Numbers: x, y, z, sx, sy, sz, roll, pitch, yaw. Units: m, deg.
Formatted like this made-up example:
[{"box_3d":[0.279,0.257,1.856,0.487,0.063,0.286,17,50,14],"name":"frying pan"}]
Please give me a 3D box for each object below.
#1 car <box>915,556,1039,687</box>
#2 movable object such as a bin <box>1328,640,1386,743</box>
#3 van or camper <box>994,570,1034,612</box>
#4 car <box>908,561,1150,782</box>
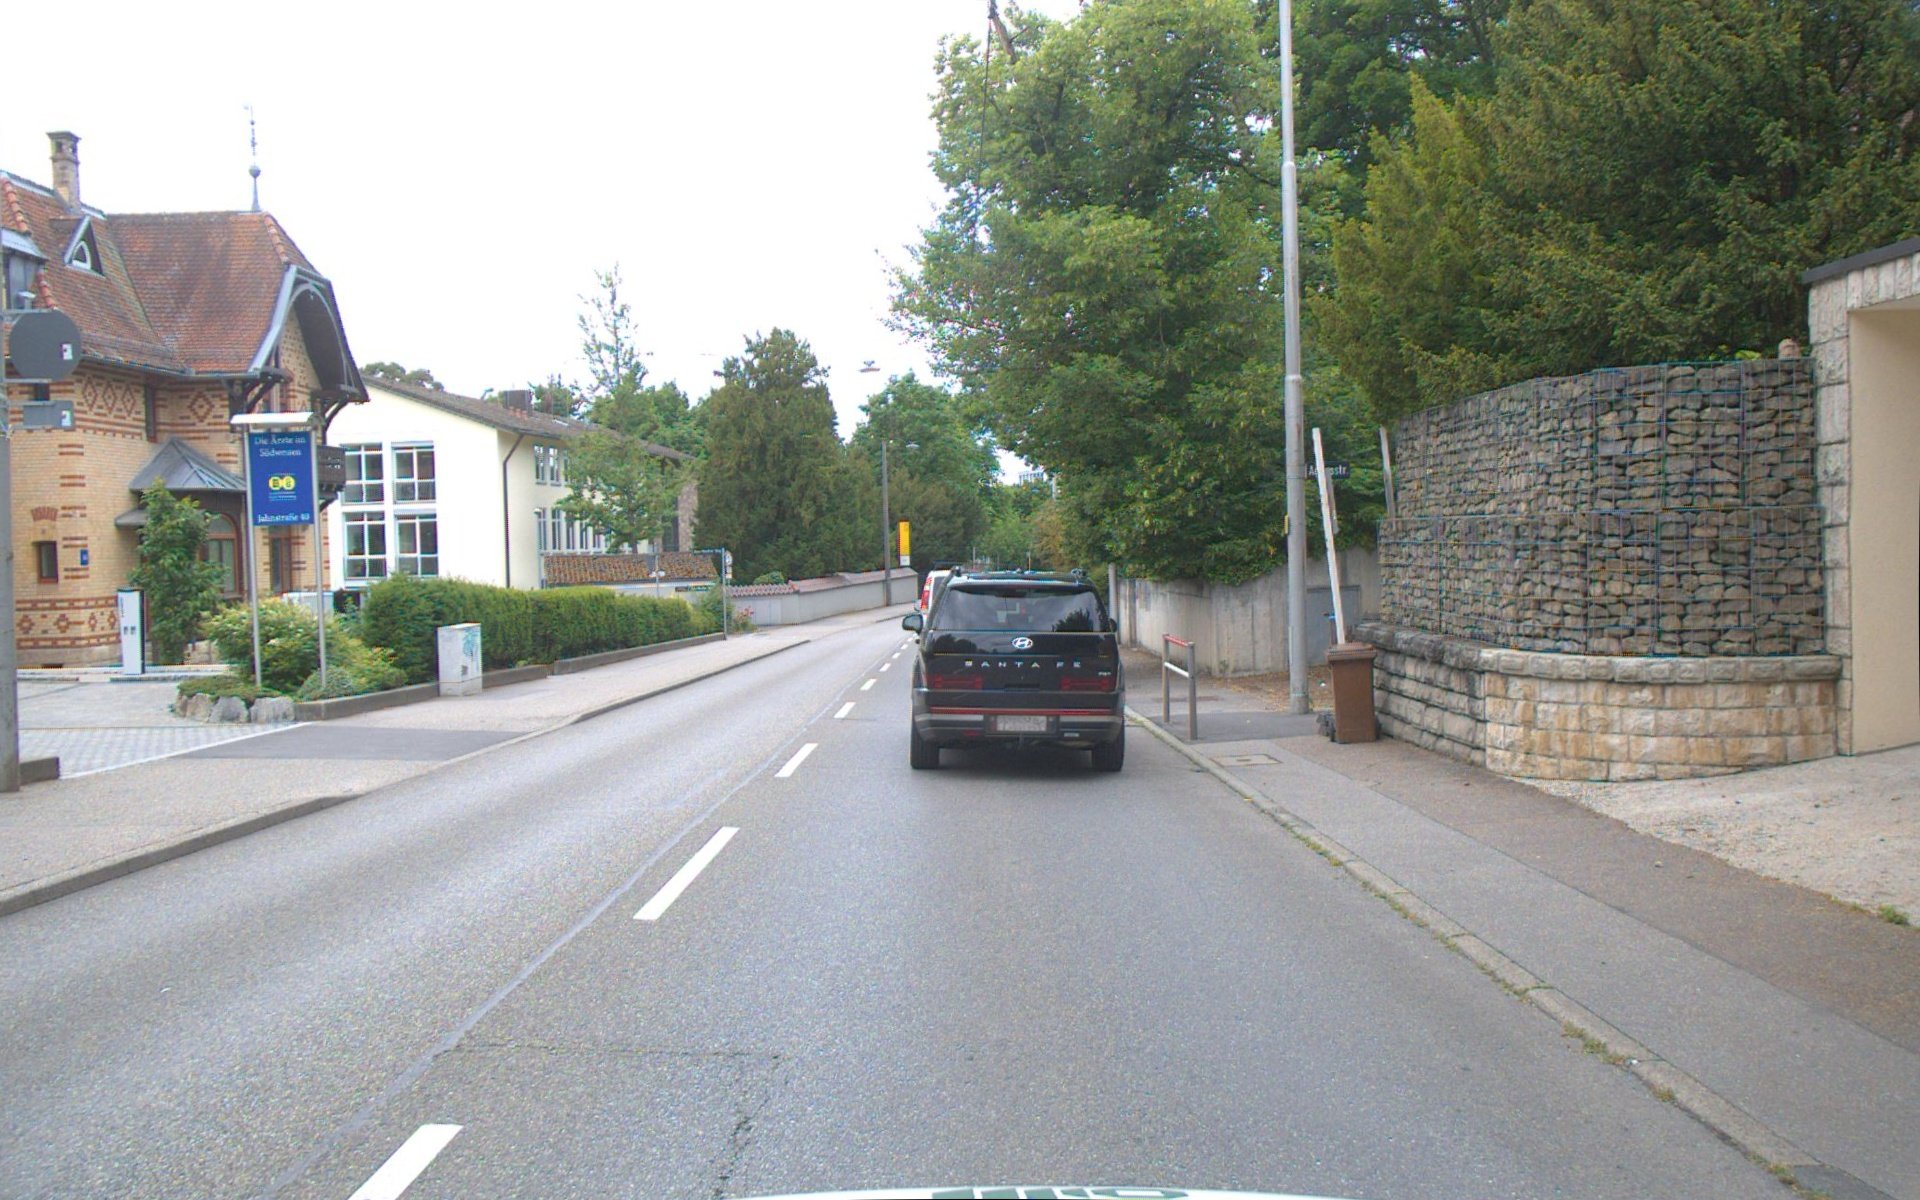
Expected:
[{"box_3d":[0.212,0.284,28.199,1.917,1.989,4.223,1,2,-2],"name":"car"},{"box_3d":[3.763,0.864,15.705,0.435,0.925,0.394,-4,0,9],"name":"movable object such as a bin"},{"box_3d":[2.857,-0.512,87.271,1.640,2.042,3.942,-2,2,8],"name":"van or camper"},{"box_3d":[0.565,0.551,15.481,1.917,1.742,4.223,1,1,0],"name":"car"}]
